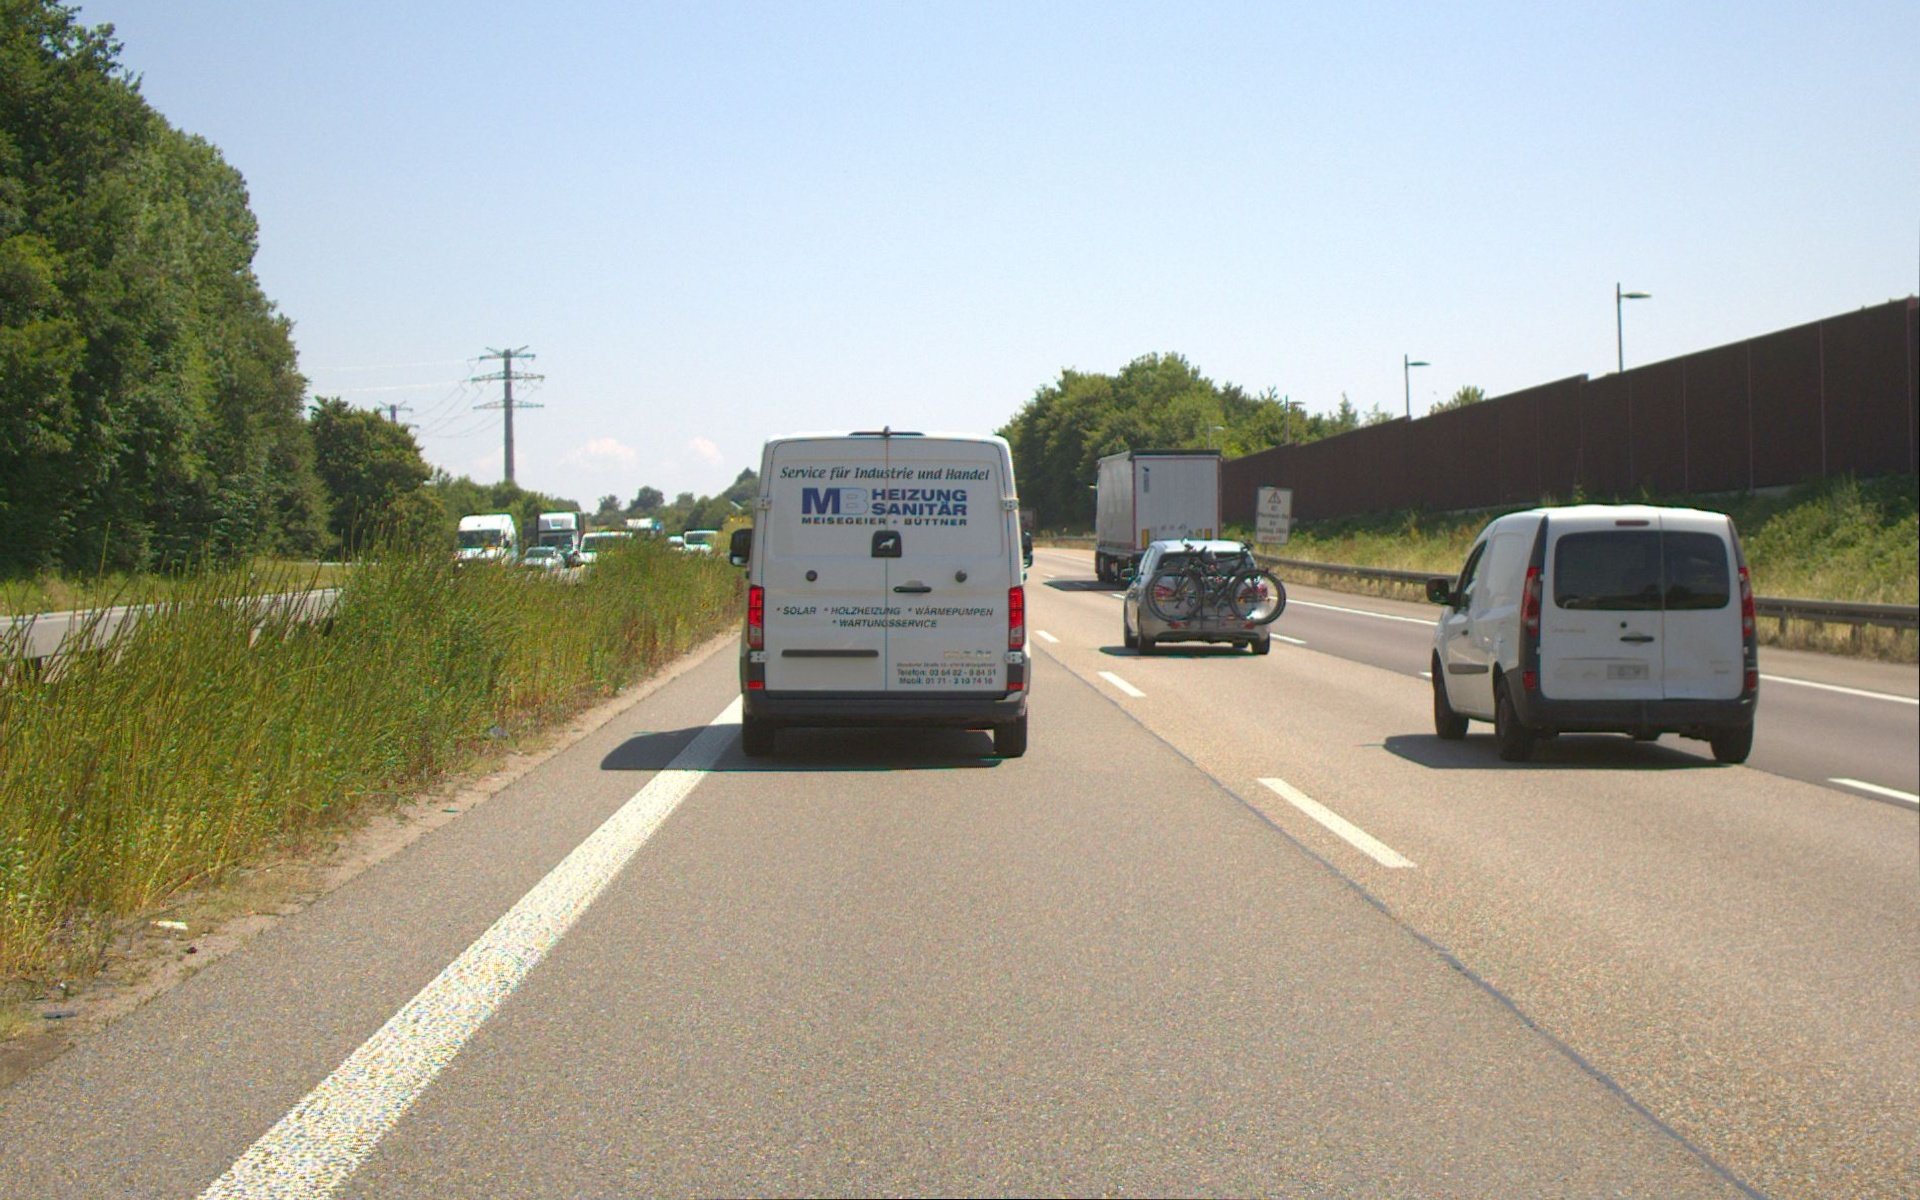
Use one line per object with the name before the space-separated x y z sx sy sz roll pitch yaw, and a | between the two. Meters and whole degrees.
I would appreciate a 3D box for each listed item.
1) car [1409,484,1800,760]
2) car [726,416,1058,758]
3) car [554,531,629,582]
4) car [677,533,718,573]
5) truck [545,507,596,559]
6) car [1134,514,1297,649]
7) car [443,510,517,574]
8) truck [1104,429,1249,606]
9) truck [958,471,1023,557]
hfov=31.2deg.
car | 4.635 0.139 25.347 1.950 1.831 4.178 -1 0 -2
car | -0.625 -0.099 25.501 2.181 2.246 5.364 1 0 -4
car | -12.115 -1.458 113.241 1.993 1.582 4.426 -2 1 -1
car | -13.790 -2.483 180.786 1.993 2.007 4.001 -1 1 -2
truck | -21.610 -3.691 190.873 1.993 2.732 5.858 1 0 1
car | 3.427 -0.246 46.819 1.976 1.727 4.088 -1 0 1
car | -18.490 -2.236 132.570 2.124 2.331 5.085 -2 1 -1
truck | 6.432 -2.374 104.309 3.788 4.983 12.518 1 0 1
truck | 1.935 -5.256 212.231 3.788 4.983 12.518 1 0 1
